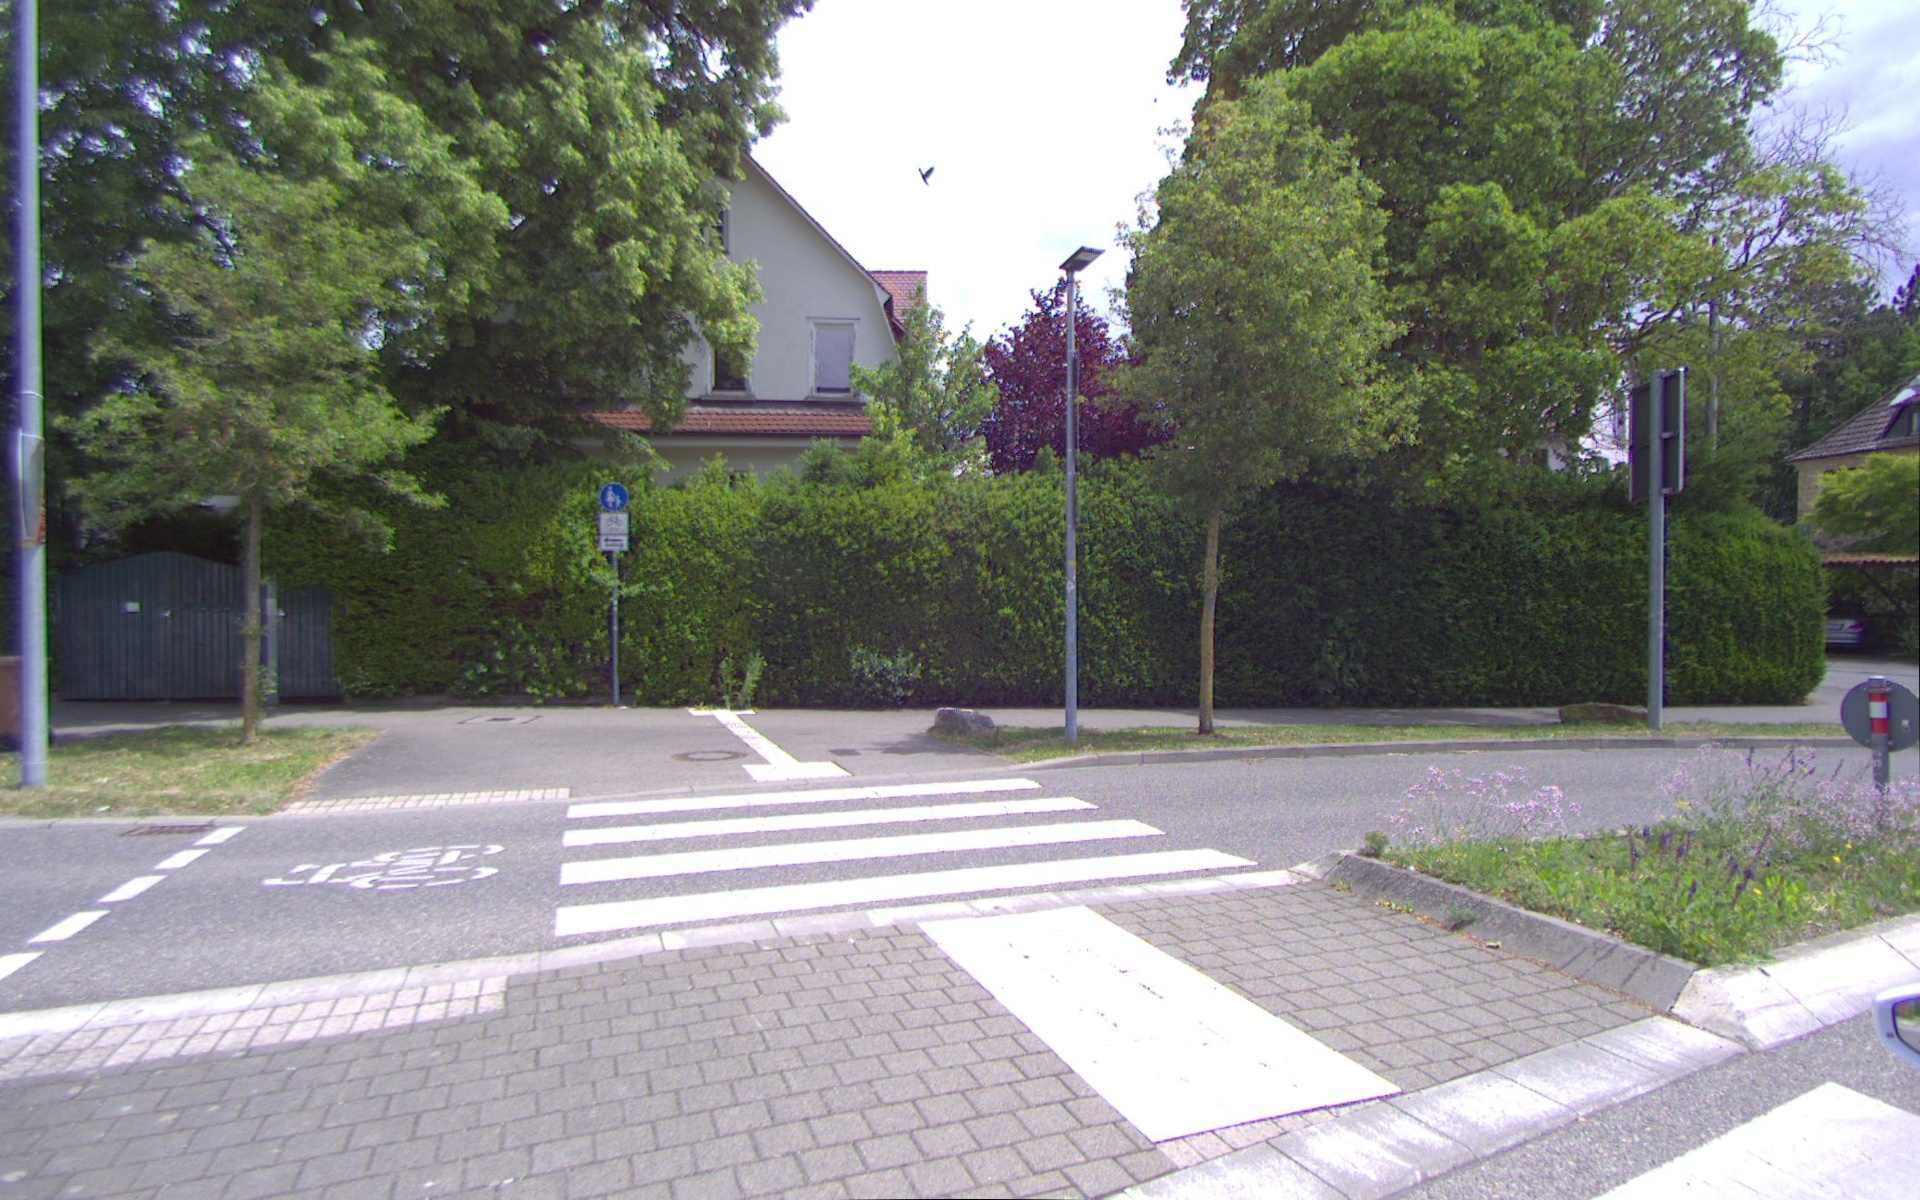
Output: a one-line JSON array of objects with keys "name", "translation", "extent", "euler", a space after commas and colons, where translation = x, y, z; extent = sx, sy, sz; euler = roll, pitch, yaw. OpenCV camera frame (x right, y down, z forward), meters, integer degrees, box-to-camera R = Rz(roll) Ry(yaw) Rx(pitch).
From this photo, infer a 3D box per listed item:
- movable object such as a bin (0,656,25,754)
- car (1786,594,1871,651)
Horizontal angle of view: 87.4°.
[{"name": "movable object such as a bin", "translation": [-9.665, 1.044, 10.019], "extent": [0.408, 0.947, 0.437], "euler": [1, -1, -34]}, {"name": "car", "translation": [25.510, 0.608, 29.466], "extent": [1.704, 1.530, 3.976], "euler": [2, 2, 43]}]
